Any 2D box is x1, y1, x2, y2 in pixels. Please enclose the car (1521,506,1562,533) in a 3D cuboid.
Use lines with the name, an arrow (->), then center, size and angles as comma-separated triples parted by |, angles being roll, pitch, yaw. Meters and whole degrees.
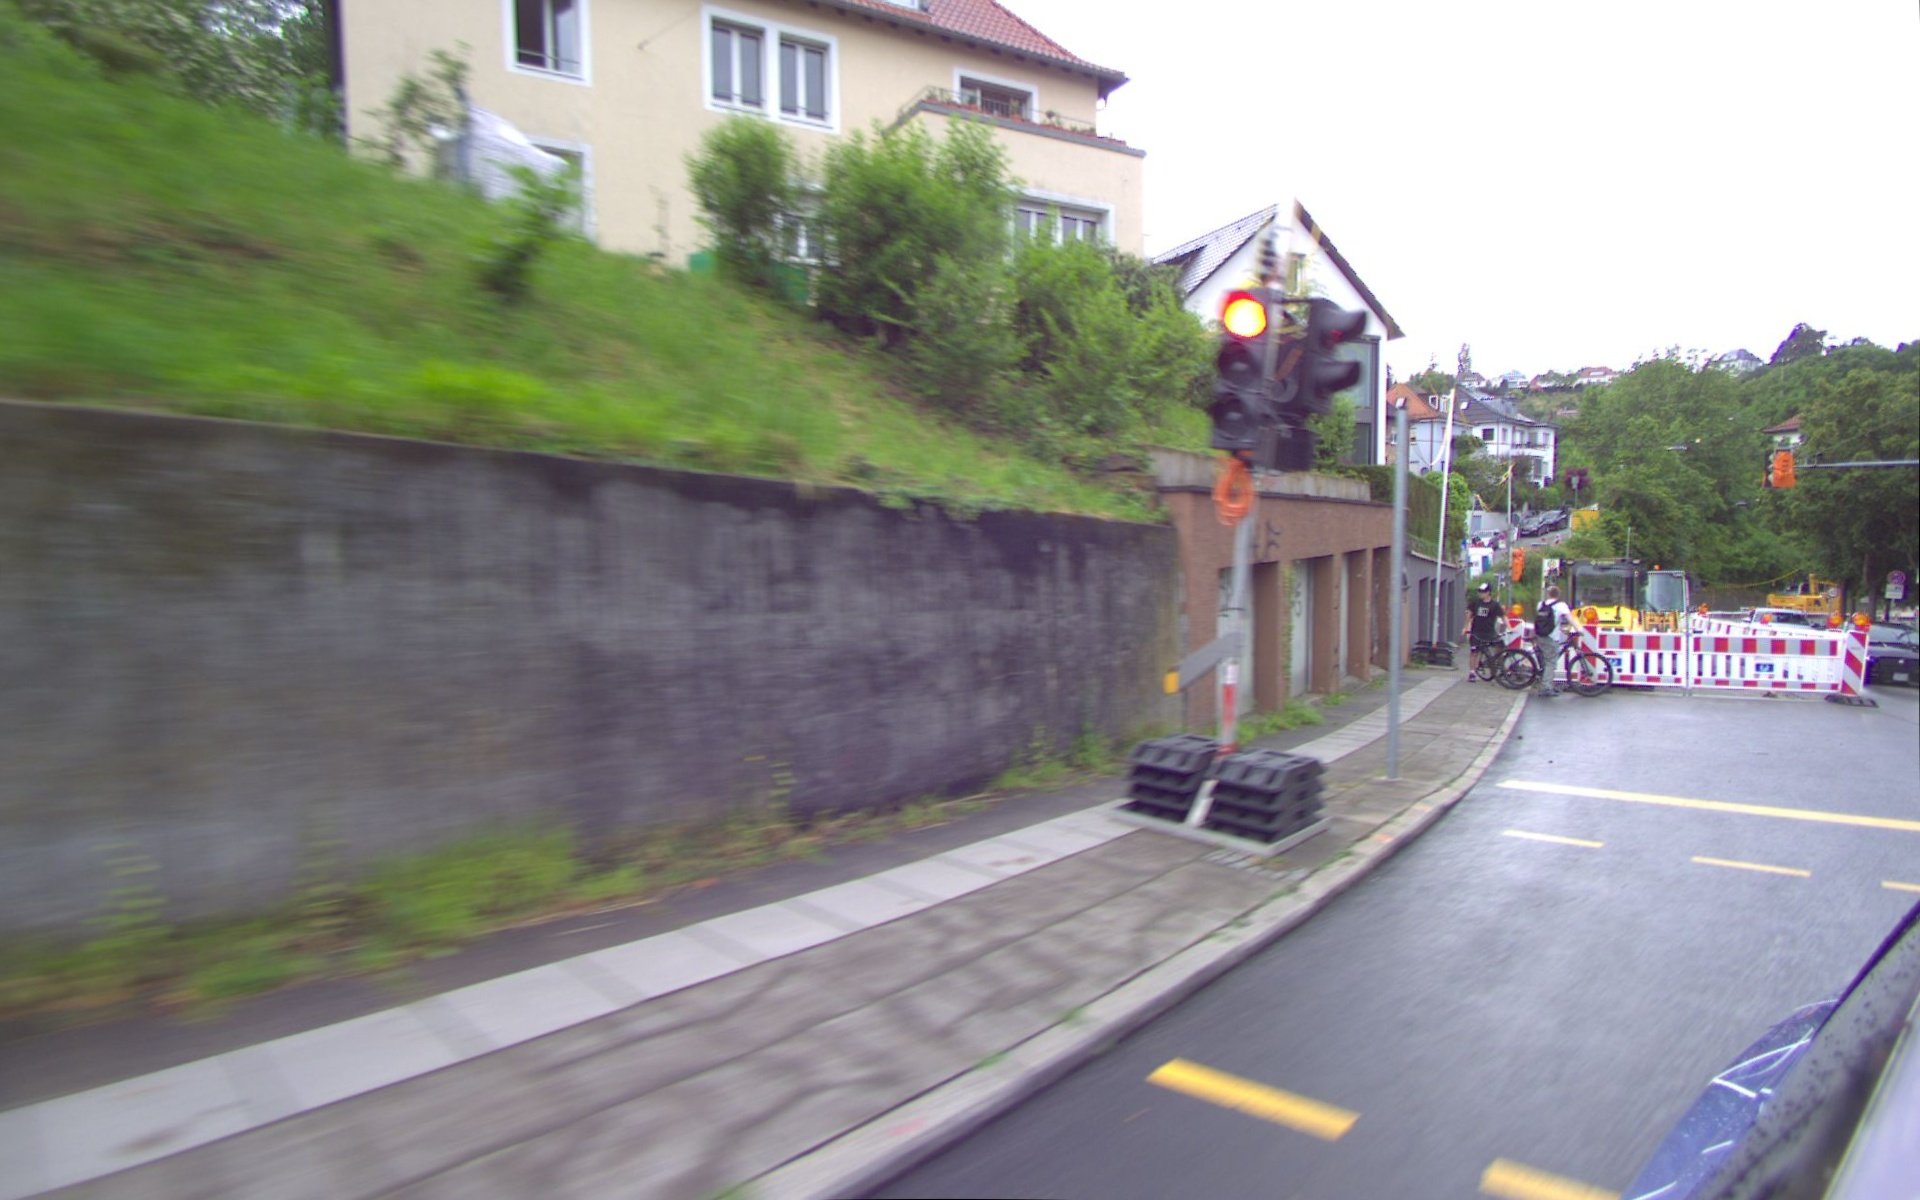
car -> 47.520, -6.597, 82.668 | 3.906, 1.652, 1.857 | -13, 13, -43

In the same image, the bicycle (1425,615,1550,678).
bicycle -> 9.592, 0.821, 18.493 | 0.913, 0.993, 1.834 | 1, 2, -24

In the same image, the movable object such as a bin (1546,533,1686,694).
movable object such as a bin -> 13.633, 0.226, 21.249 | 2.077, 2.873, 5.613 | 3, 1, 31

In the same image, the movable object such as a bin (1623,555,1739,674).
movable object such as a bin -> 19.746, 0.222, 27.946 | 2.077, 2.872, 5.615 | 3, 4, 31

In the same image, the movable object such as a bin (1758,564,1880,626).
movable object such as a bin -> 58.806, -0.367, 69.282 | 7.053, 3.885, 3.340 | 1, 3, -23

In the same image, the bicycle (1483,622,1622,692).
bicycle -> 9.838, 0.925, 16.908 | 1.864, 0.993, 0.926 | 2, 2, 24

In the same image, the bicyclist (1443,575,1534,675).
bicyclist -> 9.619, 0.432, 18.435 | 0.913, 1.750, 1.079 | 1, 1, -24

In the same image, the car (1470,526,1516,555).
car -> 39.790, -4.445, 75.540 | 3.905, 1.652, 1.857 | -12, 12, -43

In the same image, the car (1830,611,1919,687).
car -> 21.677, 1.104, 23.310 | 1.831, 1.420, 4.025 | 4, 4, 32

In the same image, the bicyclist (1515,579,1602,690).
bicyclist -> 9.939, 0.538, 16.859 | 1.065, 1.750, 0.926 | 2, 1, 23

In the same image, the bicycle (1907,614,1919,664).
bicycle -> 28.146, 1.179, 28.288 | 2.214, 1.378, 0.802 | 4, 3, 26

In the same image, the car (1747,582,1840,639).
car -> 29.253, 0.297, 35.651 | 1.989, 1.729, 4.519 | 4, 4, 34

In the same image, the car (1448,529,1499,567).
car -> 36.843, -3.774, 72.545 | 4.364, 2.099, 1.898 | -12, 12, -43
